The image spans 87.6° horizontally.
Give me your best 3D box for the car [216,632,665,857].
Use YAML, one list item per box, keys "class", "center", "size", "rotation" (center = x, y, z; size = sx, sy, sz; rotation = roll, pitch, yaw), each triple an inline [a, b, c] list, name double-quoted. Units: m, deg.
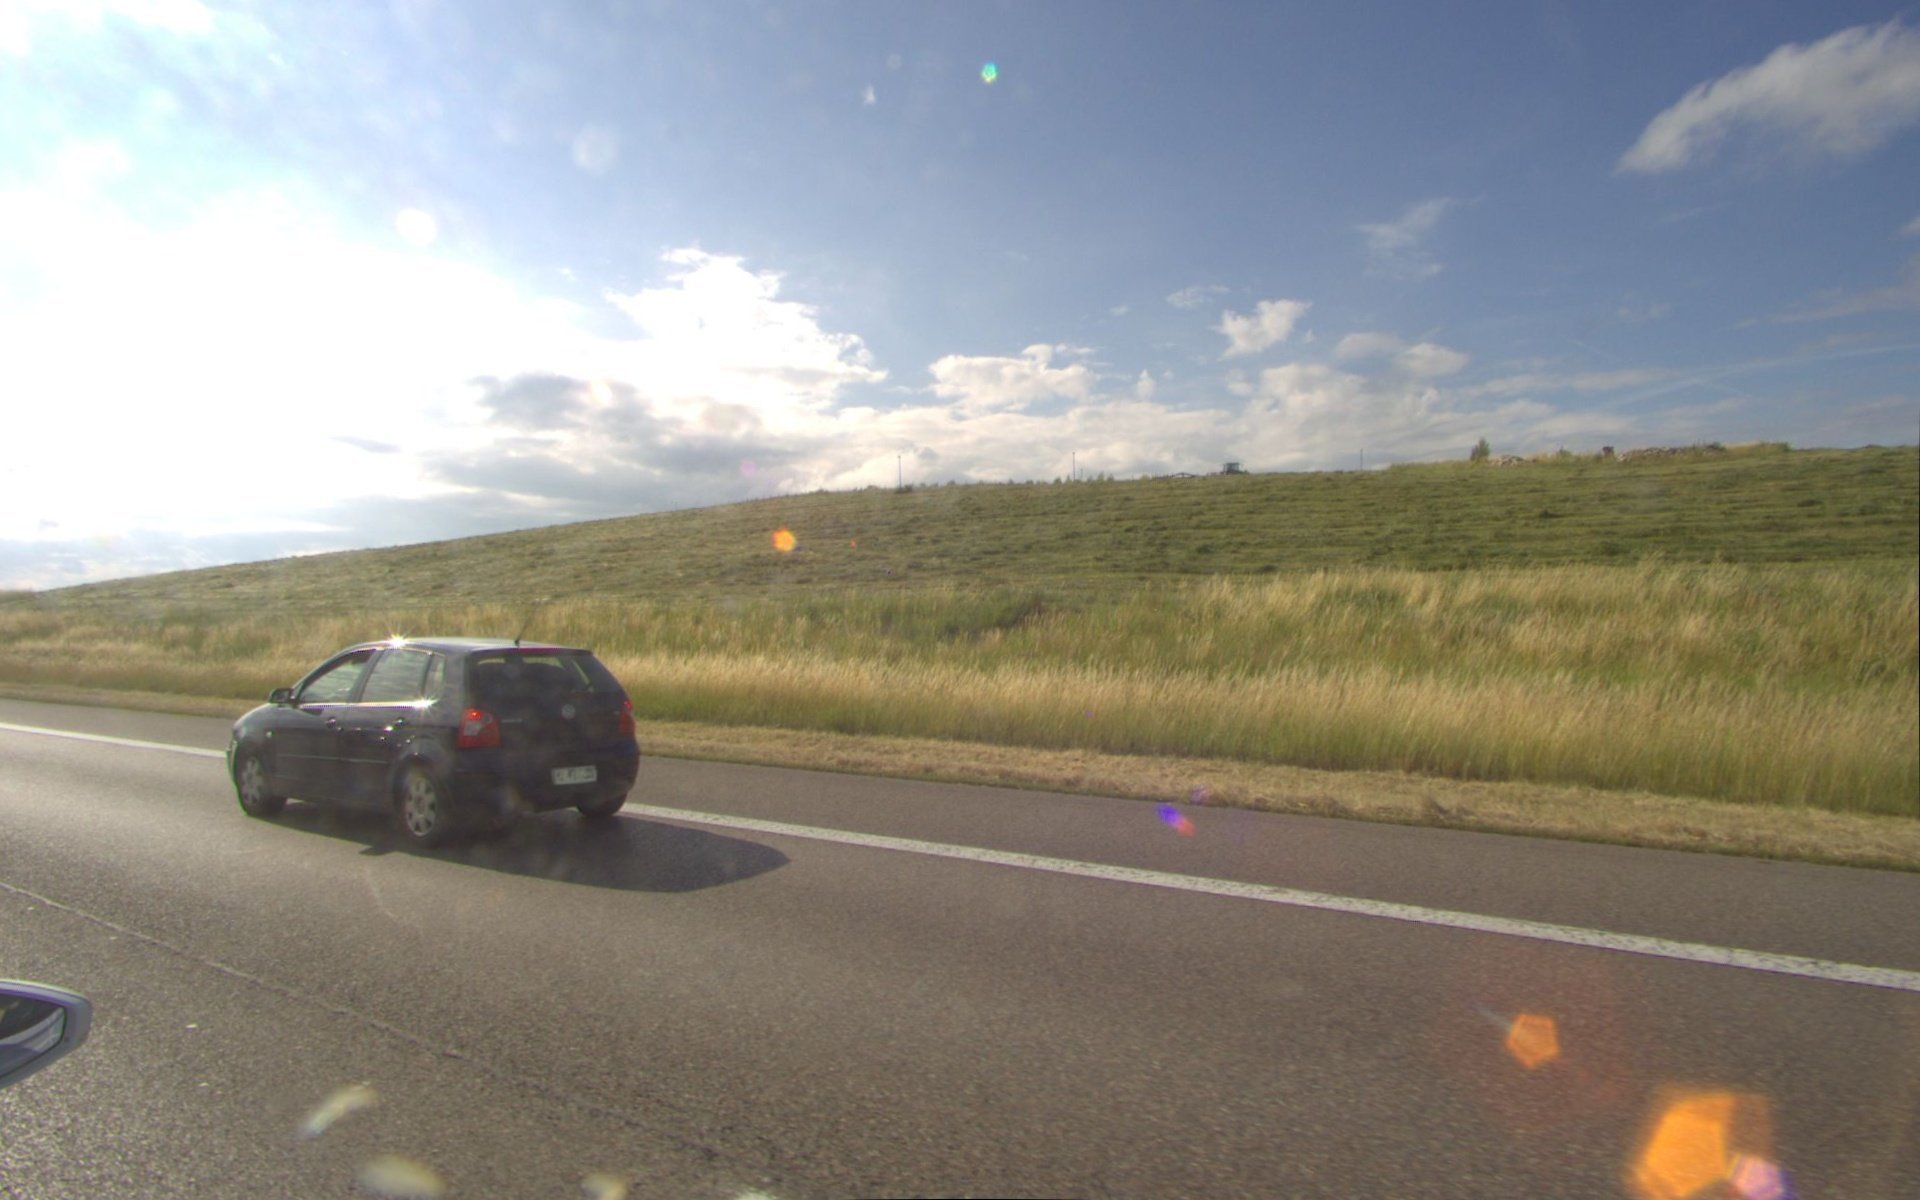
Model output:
- class: "car"
  center: [-4.245, 0.993, 8.069]
  size: [3.619, 1.438, 1.603]
  rotation: [-1, -2, 32]
